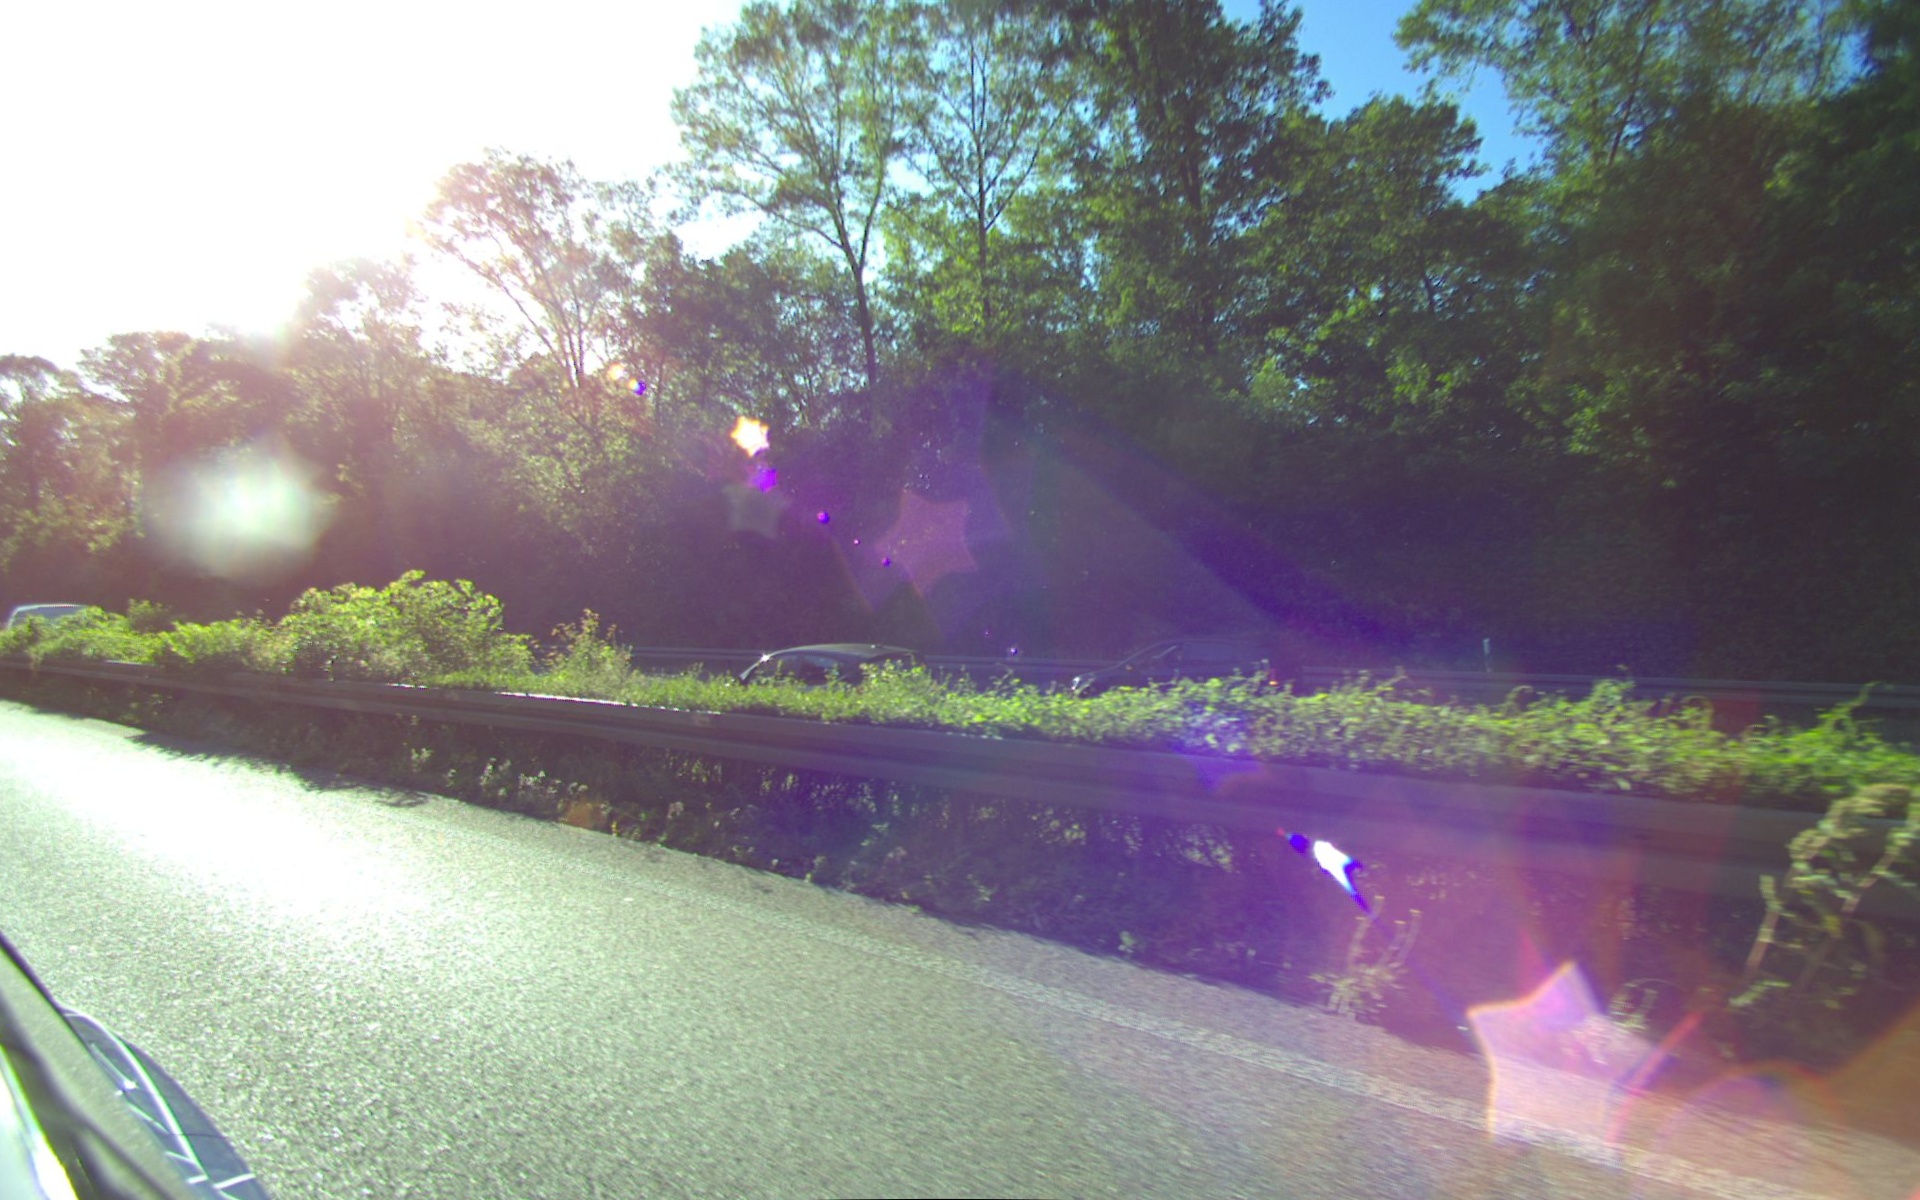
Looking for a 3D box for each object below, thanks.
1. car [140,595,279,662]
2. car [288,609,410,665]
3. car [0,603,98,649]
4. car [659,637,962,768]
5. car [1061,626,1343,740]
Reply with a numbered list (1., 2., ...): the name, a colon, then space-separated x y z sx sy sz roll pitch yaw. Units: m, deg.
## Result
1. car: -19.742 0.716 26.567 3.995 1.608 1.974 -1 0 38
2. car: -19.015 1.104 31.448 3.995 1.608 1.974 -1 0 38
3. car: -32.939 0.905 36.441 4.347 1.525 1.864 -1 0 35
4. car: -2.050 1.225 13.276 3.995 1.365 1.639 -1 0 38
5. car: 3.804 1.211 16.202 3.995 1.525 1.862 -1 0 38
